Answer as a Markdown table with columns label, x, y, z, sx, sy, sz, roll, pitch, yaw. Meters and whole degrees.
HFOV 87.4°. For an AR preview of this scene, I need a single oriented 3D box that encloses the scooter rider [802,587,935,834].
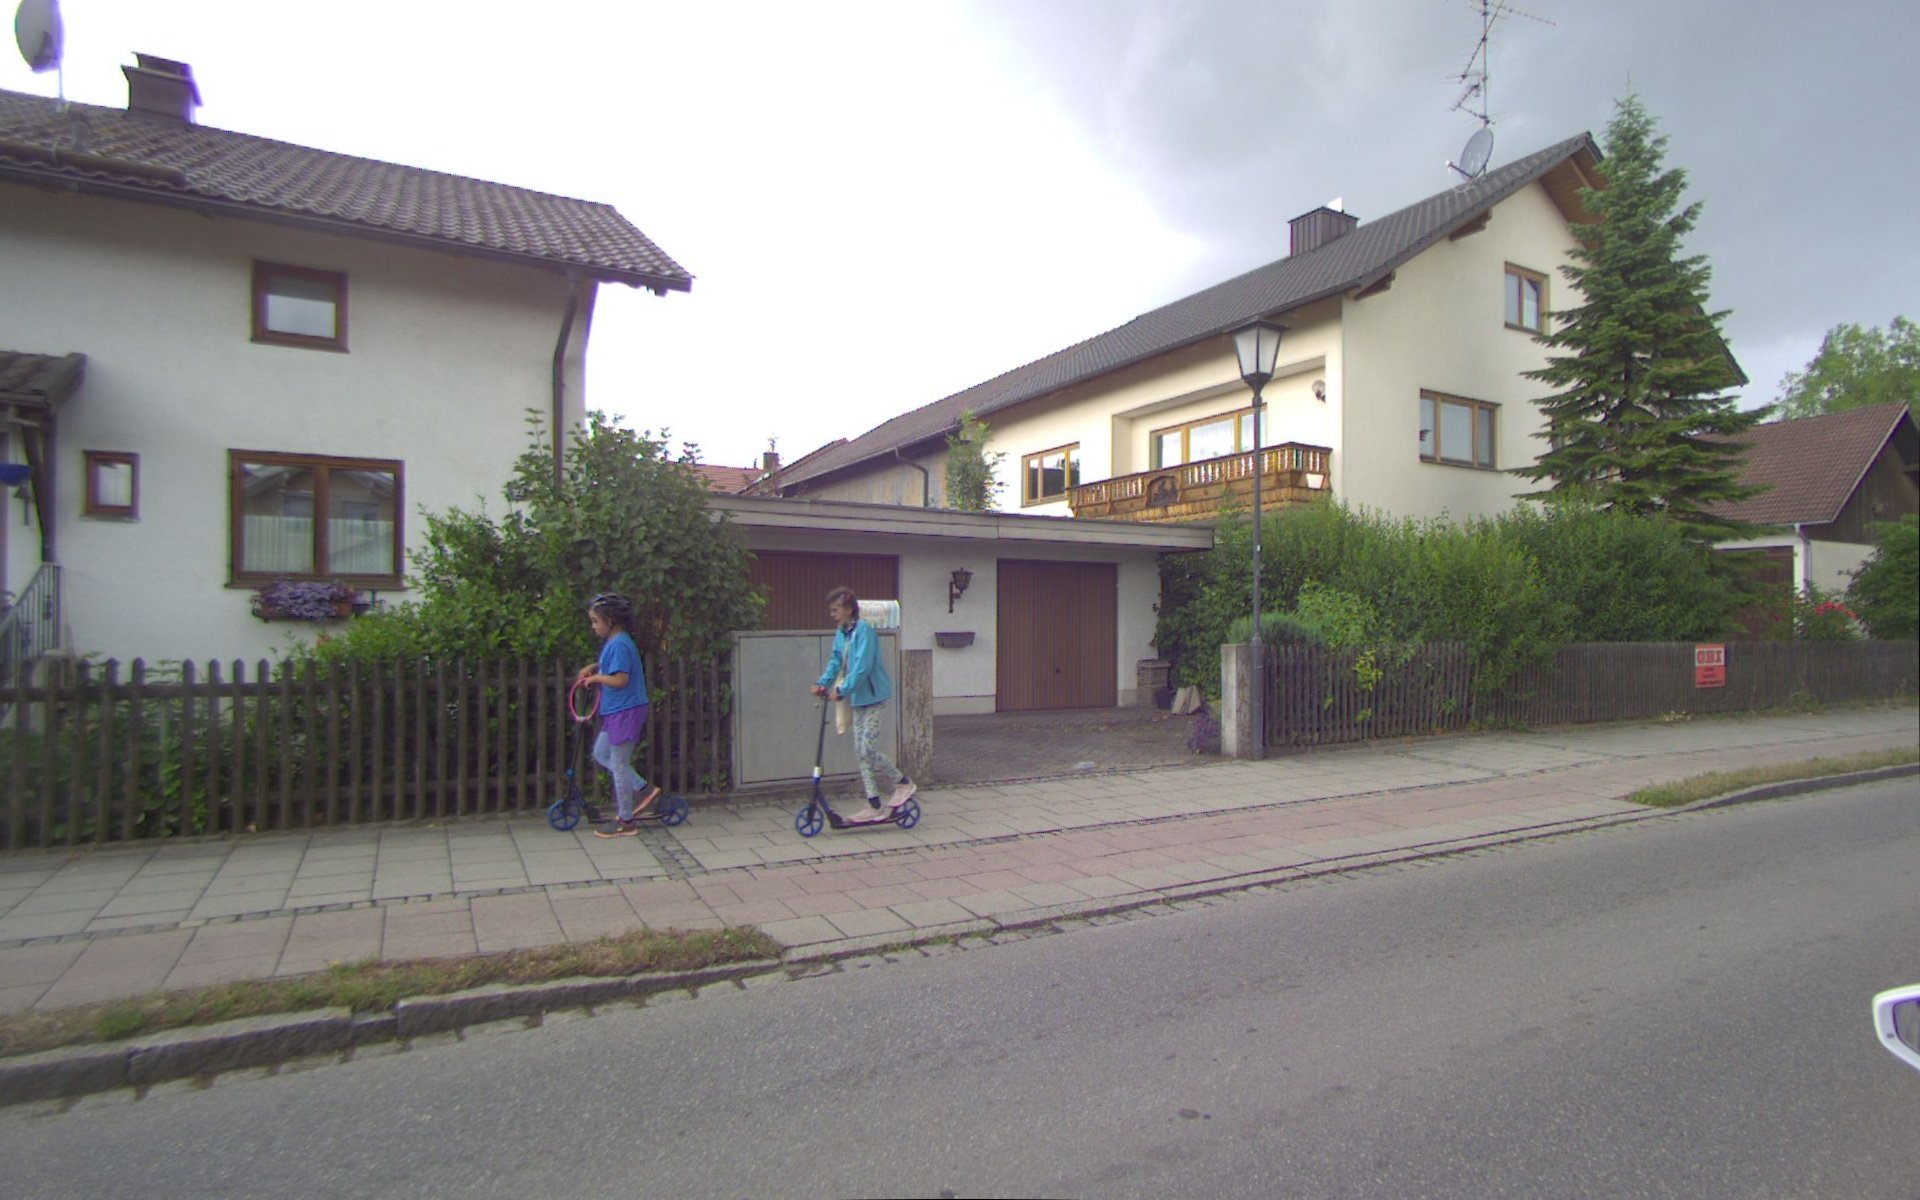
| label | x | y | z | sx | sy | sz | roll | pitch | yaw |
| --- | --- | --- | --- | --- | --- | --- | --- | --- | --- |
| scooter rider | -0.597 | 0.686 | 6.529 | 0.707 | 1.509 | 0.500 | 1 | 0 | -28 |

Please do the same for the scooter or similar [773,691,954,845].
| label | x | y | z | sx | sy | sz | roll | pitch | yaw |
| --- | --- | --- | --- | --- | --- | --- | --- | --- | --- |
| scooter or similar | -0.625 | 1.053 | 6.517 | 1.048 | 0.861 | 0.519 | 1 | 0 | -29 |

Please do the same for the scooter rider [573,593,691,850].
| label | x | y | z | sx | sy | sz | roll | pitch | yaw |
| --- | --- | --- | --- | --- | --- | --- | --- | --- | --- |
| scooter rider | -2.057 | 0.713 | 6.271 | 0.573 | 1.492 | 0.659 | 1 | 0 | -29 |

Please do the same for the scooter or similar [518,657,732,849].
| label | x | y | z | sx | sy | sz | roll | pitch | yaw |
| --- | --- | --- | --- | --- | --- | --- | --- | --- | --- |
| scooter or similar | -2.086 | 0.900 | 6.258 | 1.164 | 1.051 | 0.658 | 1 | -1 | -29 |
